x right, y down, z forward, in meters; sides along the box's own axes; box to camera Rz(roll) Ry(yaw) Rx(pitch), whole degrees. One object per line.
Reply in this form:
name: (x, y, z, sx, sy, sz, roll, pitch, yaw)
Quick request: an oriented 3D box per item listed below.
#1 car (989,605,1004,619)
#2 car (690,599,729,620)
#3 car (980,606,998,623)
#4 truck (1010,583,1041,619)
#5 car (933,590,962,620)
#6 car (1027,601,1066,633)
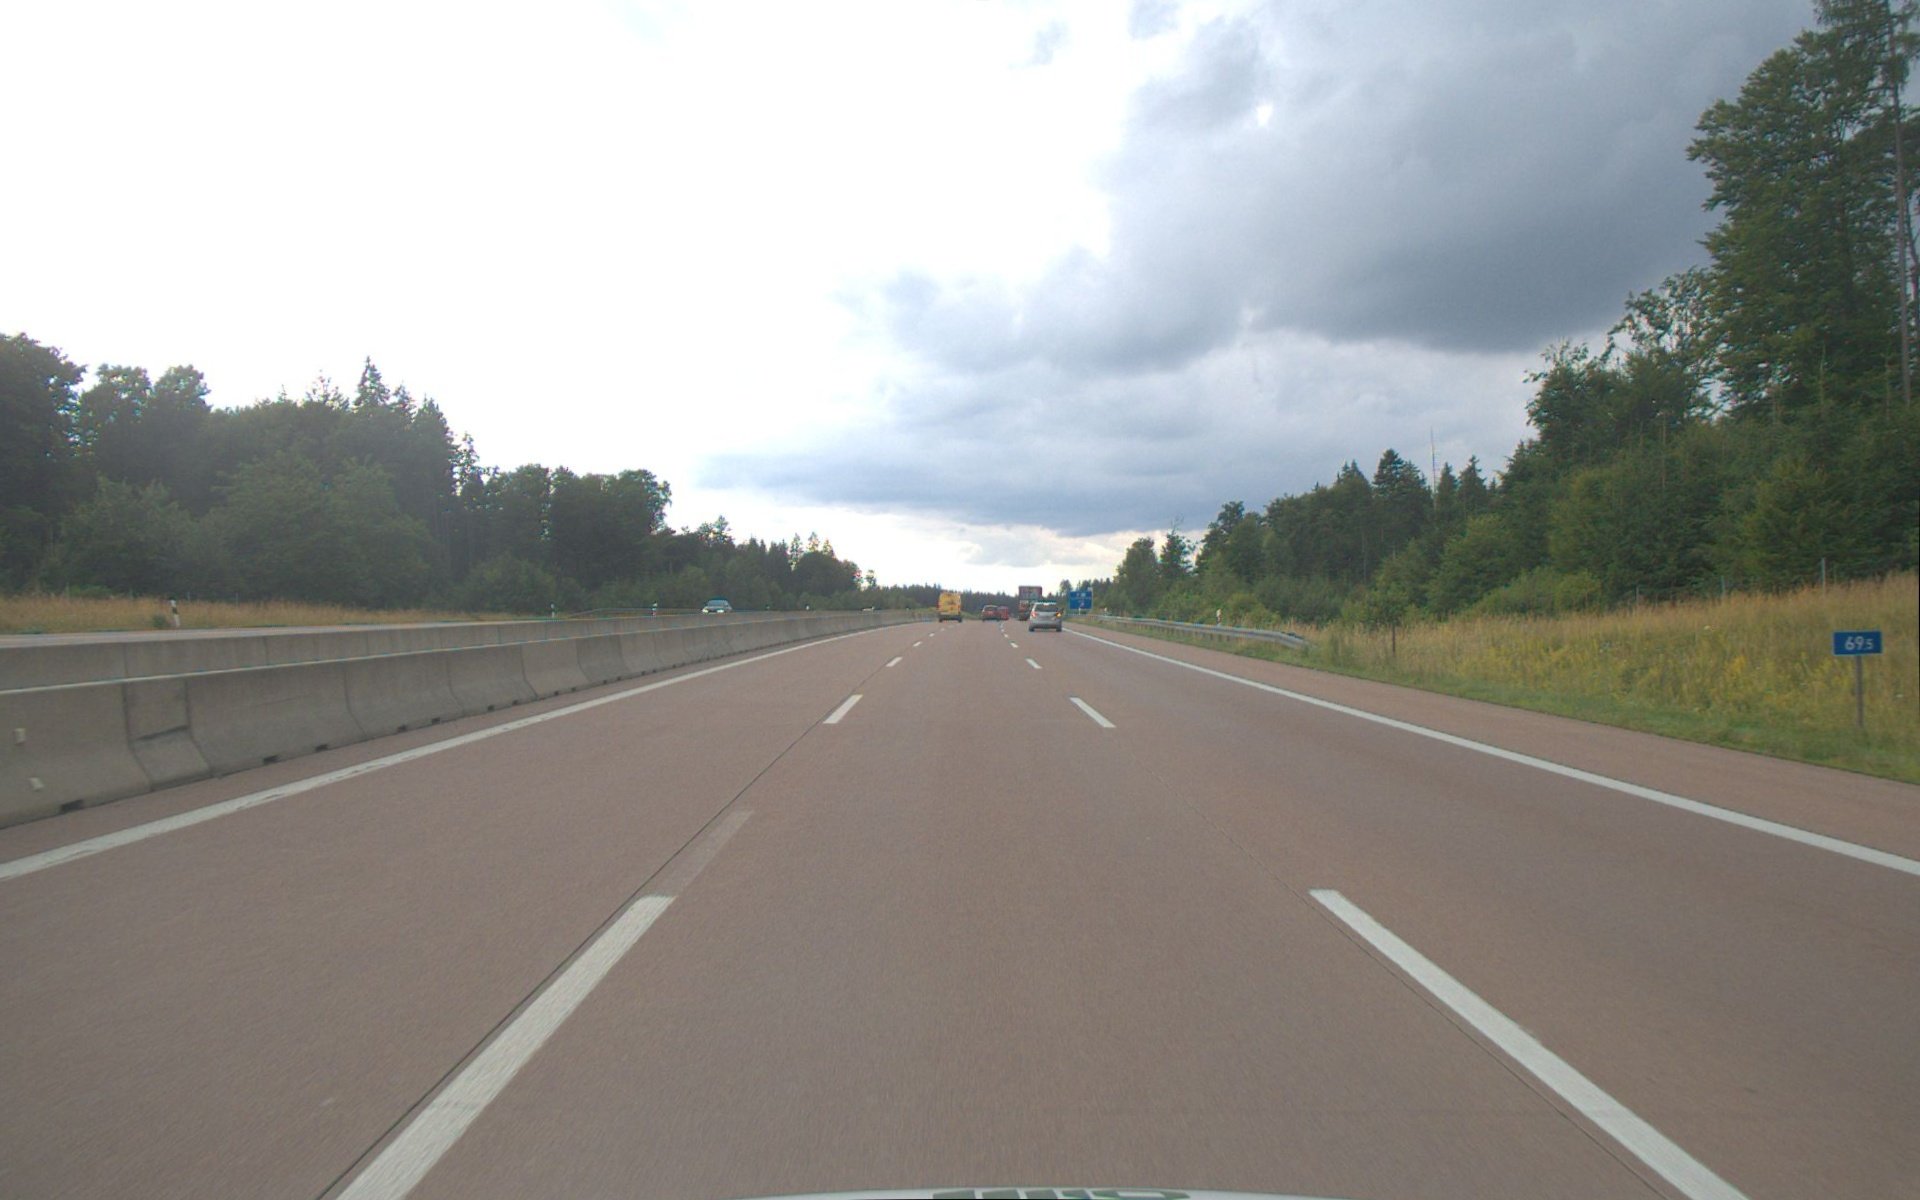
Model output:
car: (4.885, 1.601, 221.131, 1.848, 1.795, 4.999, 0, 0, 2)
car: (-19.659, 0.725, 129.988, 2.171, 1.594, 4.850, 0, 0, 1)
car: (3.139, 1.600, 177.947, 1.848, 1.795, 4.782, 0, 0, 1)
truck: (7.910, 0.187, 198.982, 3.604, 3.981, 12.819, 1, -1, 2)
car: (-1.112, 0.441, 153.007, 2.407, 2.754, 5.615, 0, 0, 2)
car: (4.739, 0.936, 90.991, 1.937, 1.676, 4.620, 1, 0, 1)
